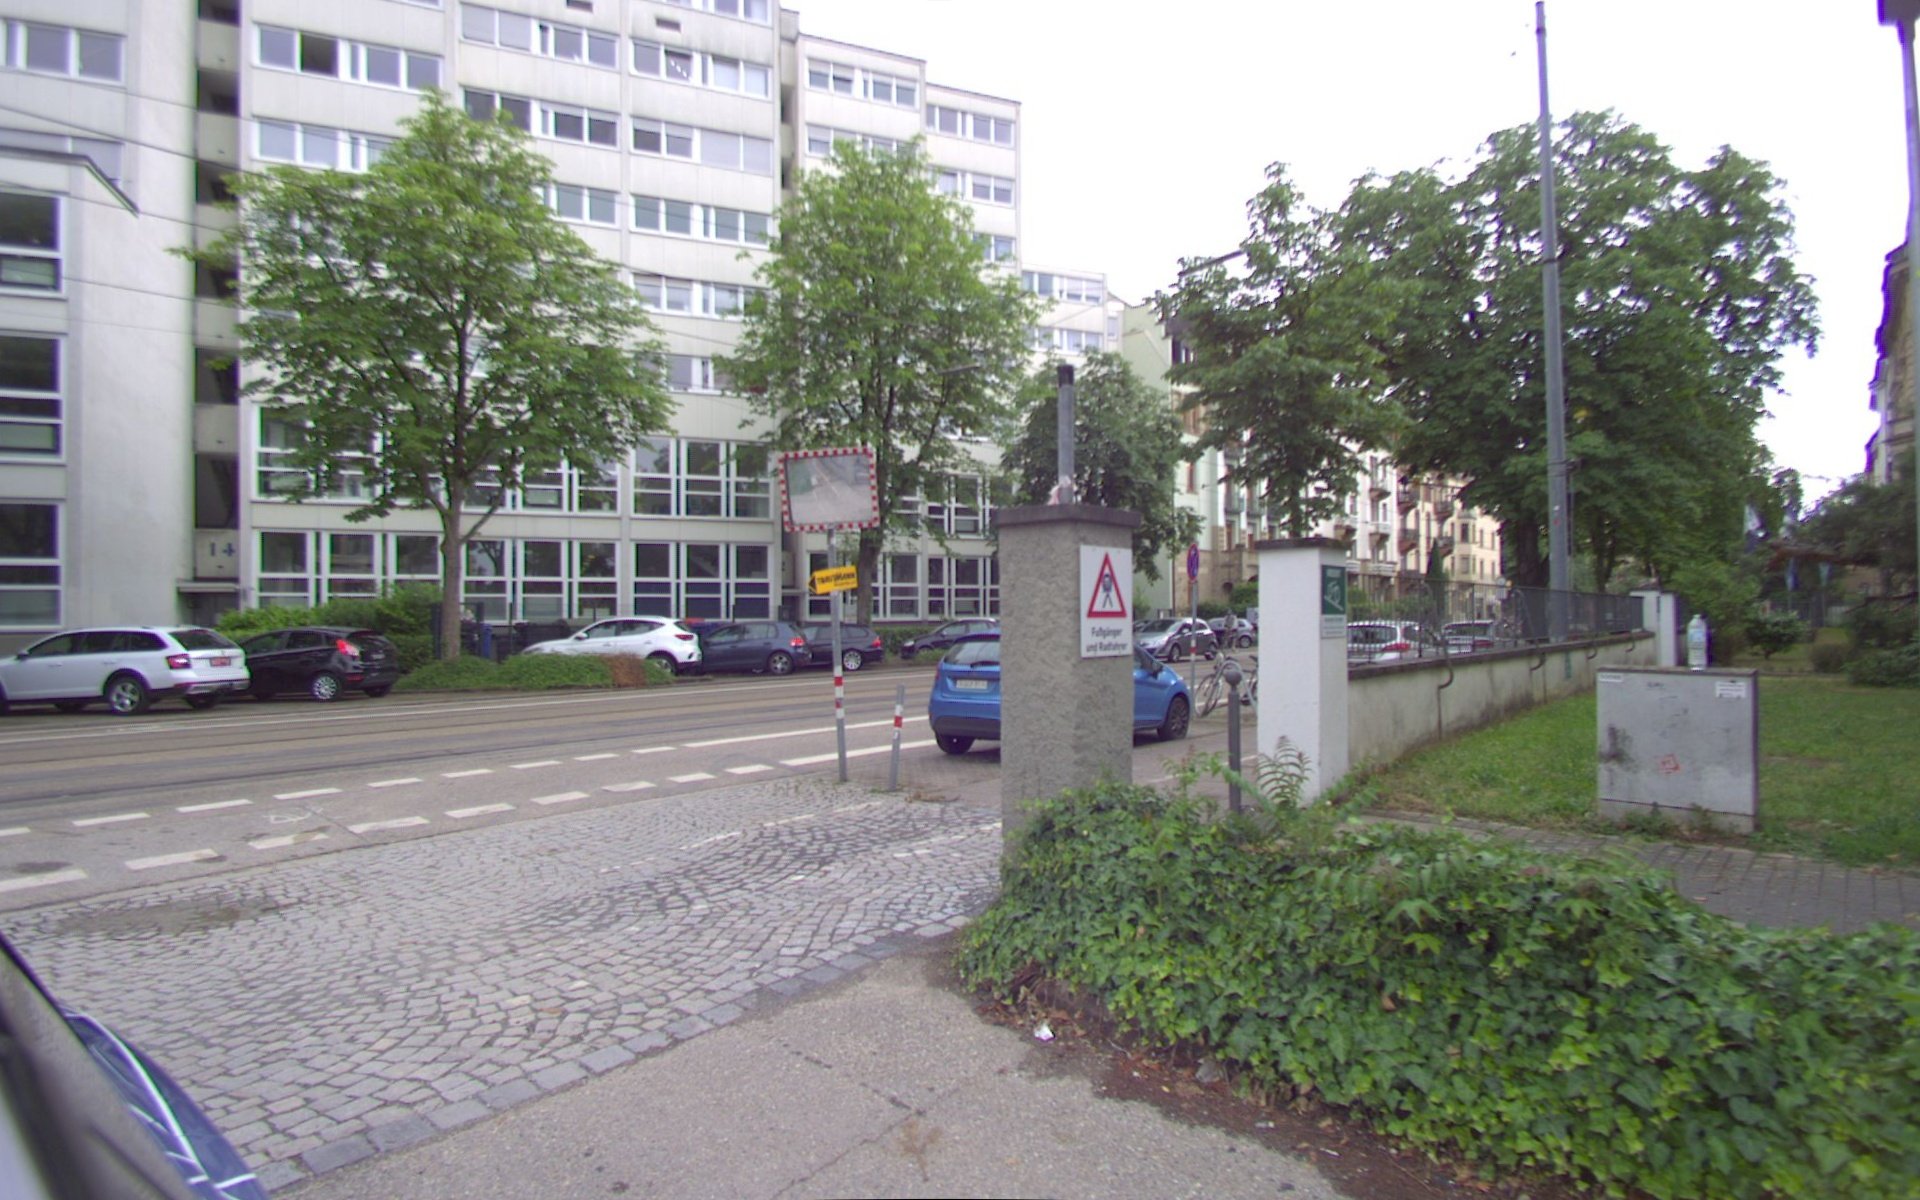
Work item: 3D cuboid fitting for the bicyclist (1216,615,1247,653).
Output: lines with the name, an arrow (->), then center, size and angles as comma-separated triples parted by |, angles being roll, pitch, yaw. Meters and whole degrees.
bicyclist -> 11.198, 1.390, 41.714 | 0.846, 1.512, 1.013 | -2, -2, 42

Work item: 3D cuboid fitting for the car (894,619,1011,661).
car -> -0.284, 1.362, 34.774 | 3.909, 1.362, 1.701 | 0, 0, -4

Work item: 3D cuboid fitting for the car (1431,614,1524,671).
car -> 13.217, 1.047, 25.787 | 1.512, 1.312, 3.138 | -2, -1, 38

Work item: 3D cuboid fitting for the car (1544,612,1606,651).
car -> 22.091, 1.120, 36.308 | 1.512, 1.312, 3.138 | -2, -1, 38

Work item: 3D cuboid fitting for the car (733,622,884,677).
car -> -4.402, 1.446, 29.890 | 4.281, 1.547, 1.701 | 0, 0, -4

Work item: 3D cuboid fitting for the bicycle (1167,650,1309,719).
bicycle -> 4.174, 1.251, 15.305 | 2.016, 0.964, 0.527 | -2, -2, 38

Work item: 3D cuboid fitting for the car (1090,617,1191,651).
car -> 7.617, 1.428, 42.936 | 3.909, 1.362, 1.701 | 0, 0, -4

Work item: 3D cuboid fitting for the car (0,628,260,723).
car -> -14.744, 1.268, 17.676 | 3.976, 1.495, 1.698 | 0, 0, 4

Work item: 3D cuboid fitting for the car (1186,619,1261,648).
car -> 13.578, 1.699, 52.127 | 3.689, 1.396, 1.690 | 0, 0, 18

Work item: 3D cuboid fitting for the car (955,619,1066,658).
car -> 1.821, 1.417, 37.257 | 3.909, 1.362, 1.701 | 0, 0, -4

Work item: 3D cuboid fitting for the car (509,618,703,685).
car -> -8.639, 1.246, 25.027 | 4.278, 1.568, 1.703 | 0, 0, -7

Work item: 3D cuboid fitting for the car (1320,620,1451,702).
car -> 8.783, 1.171, 20.741 | 1.479, 1.492, 3.517 | -1, -1, 41

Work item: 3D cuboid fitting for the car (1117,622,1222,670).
car -> 6.977, 1.465, 33.390 | 1.745, 1.440, 3.947 | -2, -1, 39

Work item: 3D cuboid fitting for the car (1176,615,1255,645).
car -> 12.573, 1.452, 49.779 | 3.689, 1.396, 1.690 | 0, 0, 18

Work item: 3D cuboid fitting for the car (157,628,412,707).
car -> -13.216, 1.297, 19.932 | 3.976, 1.416, 1.698 | 0, 0, 4

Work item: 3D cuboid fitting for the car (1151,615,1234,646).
car -> 10.885, 1.399, 47.284 | 3.689, 1.396, 1.690 | 0, 0, 18

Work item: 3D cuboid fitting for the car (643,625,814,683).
car -> -6.172, 1.432, 27.319 | 4.281, 1.465, 1.701 | 0, 0, -4

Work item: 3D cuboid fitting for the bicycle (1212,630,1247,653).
bicycle -> 11.118, 1.693, 41.709 | 0.470, 0.875, 2.109 | -2, -2, 42

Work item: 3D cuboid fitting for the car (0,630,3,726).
car -> -17.093, 1.234, 15.264 | 3.651, 1.535, 1.701 | 0, 0, -2

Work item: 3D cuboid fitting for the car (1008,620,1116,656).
car -> 3.929, 1.465, 39.394 | 3.909, 1.362, 1.701 | 0, 0, -4

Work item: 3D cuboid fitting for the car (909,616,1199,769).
car -> 1.195, 0.960, 11.762 | 1.678, 1.472, 3.386 | -3, -3, 40

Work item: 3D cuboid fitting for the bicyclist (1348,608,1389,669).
bicyclist -> 10.860, 1.009, 26.891 | 0.971, 1.581, 0.665 | 0, -1, -44
